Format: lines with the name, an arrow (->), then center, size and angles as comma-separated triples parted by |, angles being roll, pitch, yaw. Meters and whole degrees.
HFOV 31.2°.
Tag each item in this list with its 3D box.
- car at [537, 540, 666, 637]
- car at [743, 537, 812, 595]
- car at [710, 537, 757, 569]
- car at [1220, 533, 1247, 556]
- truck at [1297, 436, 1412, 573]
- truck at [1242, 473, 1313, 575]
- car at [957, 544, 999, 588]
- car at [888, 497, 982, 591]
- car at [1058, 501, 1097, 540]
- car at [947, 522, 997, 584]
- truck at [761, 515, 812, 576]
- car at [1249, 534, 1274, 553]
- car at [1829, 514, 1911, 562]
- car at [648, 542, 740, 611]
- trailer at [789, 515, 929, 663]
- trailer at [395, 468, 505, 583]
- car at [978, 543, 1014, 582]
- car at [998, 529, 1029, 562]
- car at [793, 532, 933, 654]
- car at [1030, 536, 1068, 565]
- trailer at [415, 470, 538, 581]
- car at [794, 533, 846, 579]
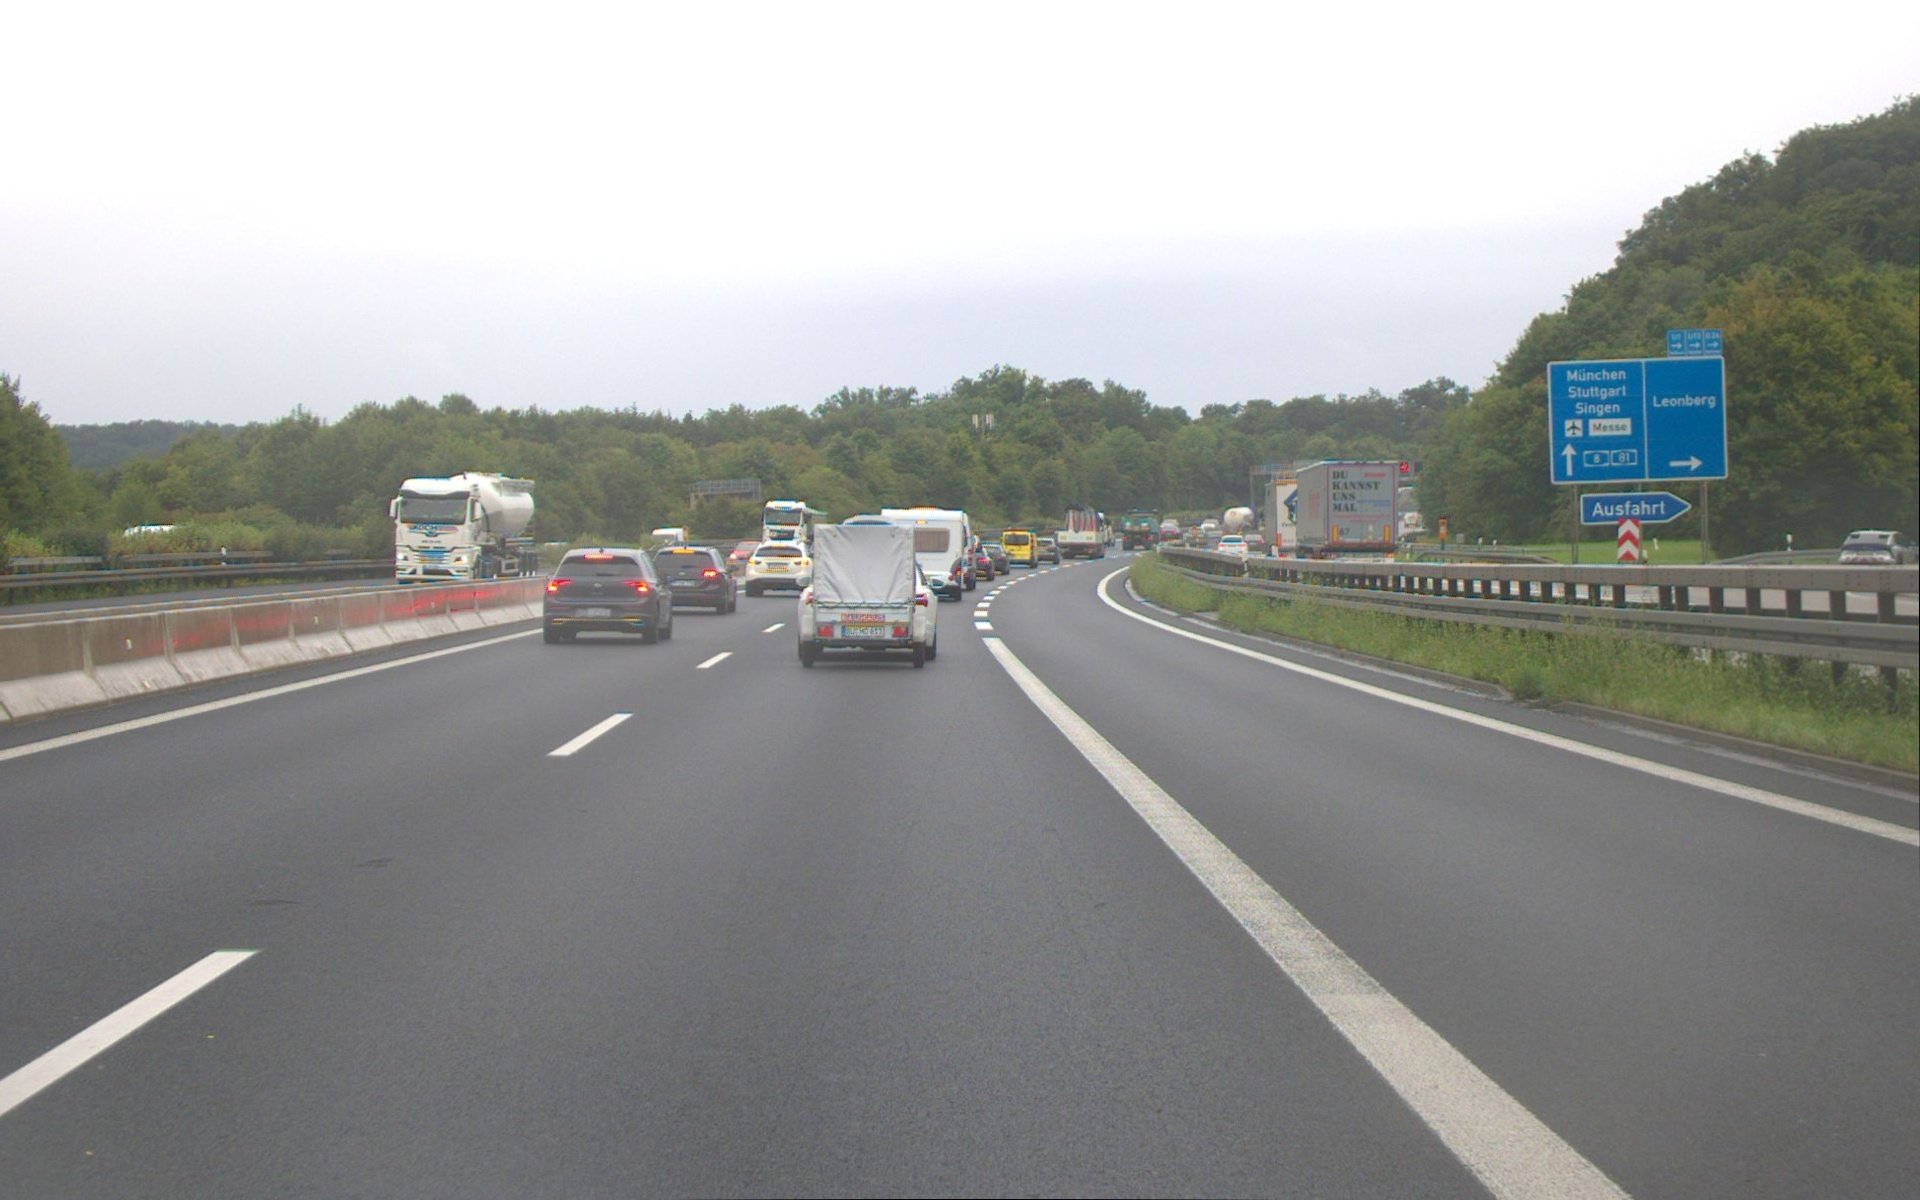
car -> -5.553, -0.202, 53.646 | 1.675, 1.451, 4.000 | 0, 1, -1
car -> -5.302, -0.997, 100.223 | 1.775, 1.634, 4.043 | 0, 1, 0
car -> -11.320, -2.355, 171.772 | 1.808, 1.575, 4.355 | 0, 1, 4
car -> 17.233, -3.480, 216.681 | 1.676, 1.451, 3.999 | 0, 1, 5
truck -> 14.086, -3.337, 123.676 | 3.216, 4.650, 13.032 | 0, 1, 3
truck -> 15.123, -3.539, 163.008 | 3.216, 4.650, 13.030 | 0, 1, 6
car -> 0.761, -1.410, 143.146 | 1.676, 1.806, 4.000 | 0, 1, 1
car -> -0.679, -1.572, 97.520 | 2.507, 2.576, 5.699 | 0, 1, 1
car -> 8.024, -5.409, 234.989 | 2.516, 2.566, 5.311 | 0, 1, 4
car -> 0.401, -1.609, 117.803 | 1.676, 2.060, 4.000 | 0, 1, 0
truck -> -10.795, -3.398, 214.337 | 2.887, 3.736, 5.945 | 0, 1, -1
car -> 22.645, -4.237, 258.383 | 1.676, 1.451, 4.000 | 0, 1, 3
car -> 28.364, -1.925, 107.122 | 1.678, 1.451, 3.994 | 0, 1, 27
car -> -5.786, -0.522, 75.147 | 1.765, 1.451, 4.000 | 0, 1, -1
trailer -> -1.255, -0.163, 44.020 | 1.676, 1.806, 4.000 | 0, 1, 0
trailer -> -16.921, -2.457, 114.385 | 2.636, 3.703, 6.492 | 0, 1, 1
car -> 1.700, -1.765, 162.327 | 1.676, 1.806, 4.000 | 0, 1, 1
car -> 2.960, -2.981, 188.488 | 1.676, 1.806, 4.000 | 0, 1, 1
car -> -1.298, -0.117, 47.775 | 1.818, 1.610, 4.778 | 0, 1, 0
car -> 5.341, -2.949, 205.486 | 2.038, 1.677, 3.999 | 0, 1, 5
trailer -> -16.830, -2.560, 120.442 | 2.636, 3.723, 10.811 | 0, 1, 1
car -> -4.980, -1.570, 122.753 | 1.775, 1.634, 4.043 | 0, 1, -1
